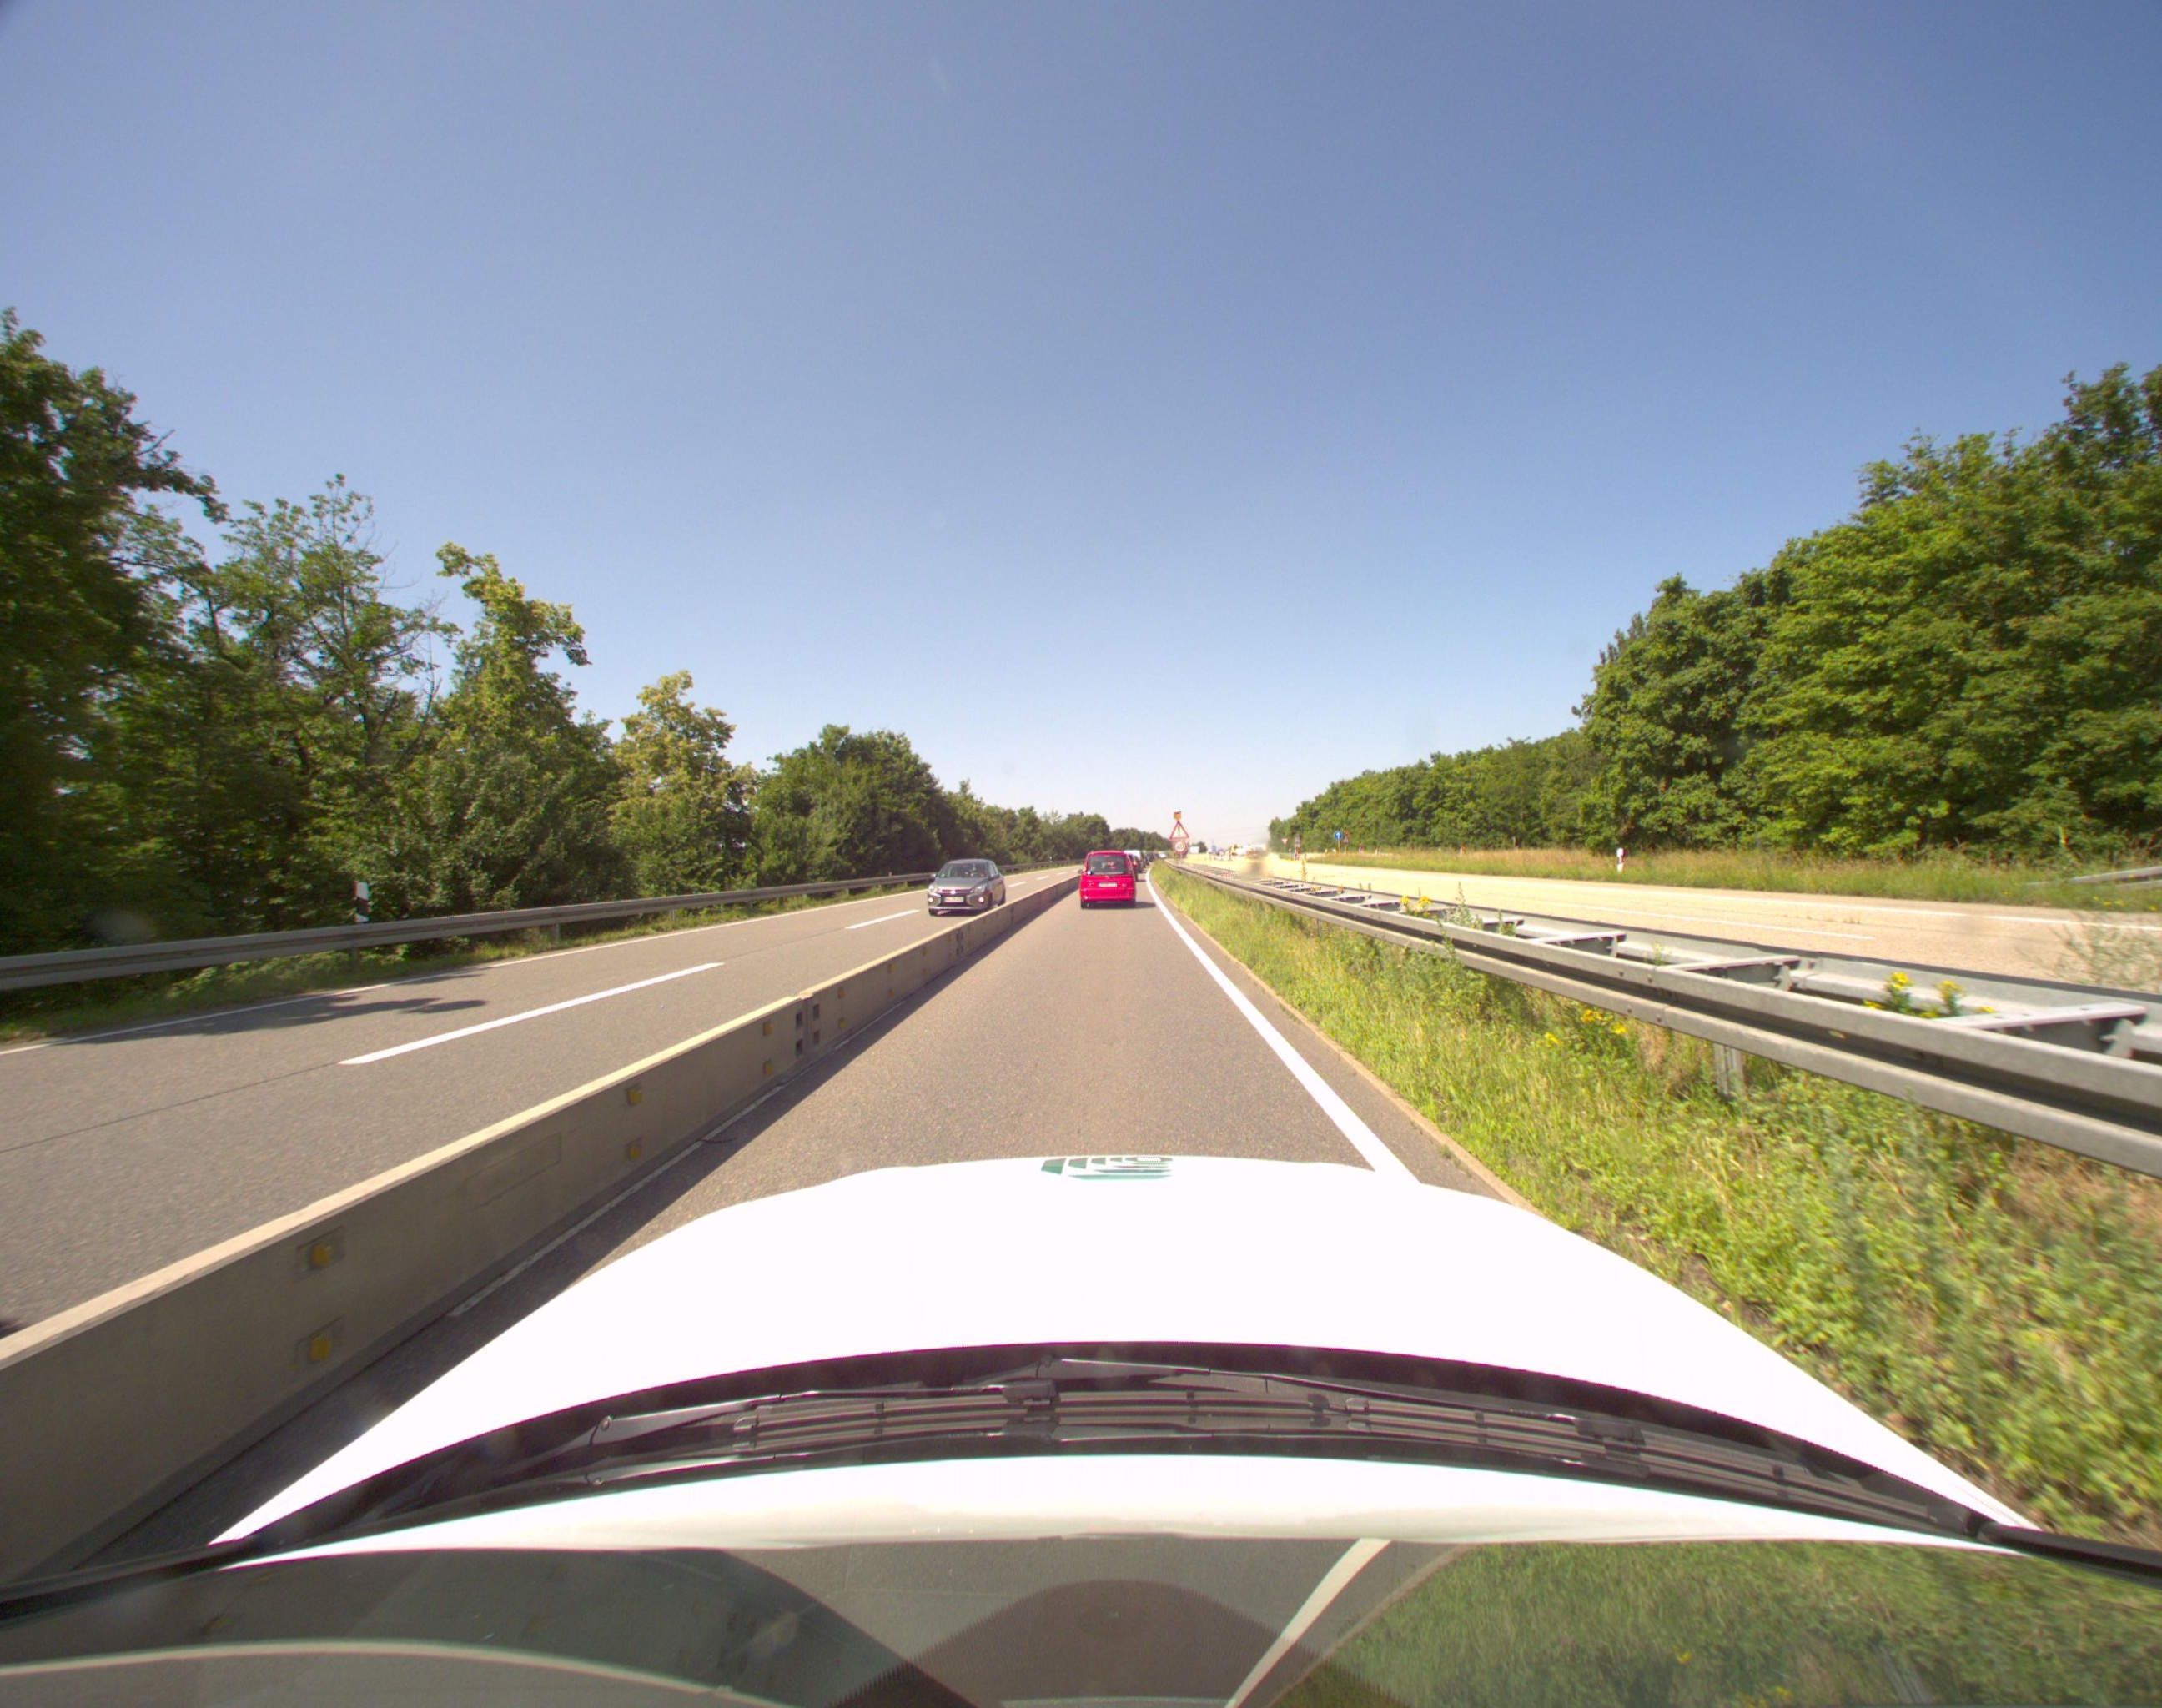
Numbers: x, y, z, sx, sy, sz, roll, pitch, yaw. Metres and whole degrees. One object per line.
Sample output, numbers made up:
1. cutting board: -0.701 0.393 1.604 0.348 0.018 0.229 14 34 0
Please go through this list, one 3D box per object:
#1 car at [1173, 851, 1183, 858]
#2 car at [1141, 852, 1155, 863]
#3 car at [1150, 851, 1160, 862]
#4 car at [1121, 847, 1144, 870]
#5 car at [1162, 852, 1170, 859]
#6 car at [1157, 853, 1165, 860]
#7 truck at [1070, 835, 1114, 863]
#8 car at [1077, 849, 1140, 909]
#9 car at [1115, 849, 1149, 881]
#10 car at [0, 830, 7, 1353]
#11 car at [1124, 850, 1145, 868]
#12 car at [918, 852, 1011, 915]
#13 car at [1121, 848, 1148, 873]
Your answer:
1. car: 22.736 0.023 190.965 1.984 1.552 4.006 -3 0 5
2. car: 9.901 0.466 120.797 1.984 1.585 4.006 -1 0 5
3. car: 12.331 0.392 135.922 1.494 1.736 3.175 -1 0 6
4. car: 4.658 0.398 74.584 1.985 2.003 4.003 -1 0 3
5. car: 17.483 0.306 167.155 1.493 1.450 3.177 -3 0 8
6. car: 14.927 0.473 151.651 1.413 1.298 2.885 -3 0 8
7. truck: 2.323 -0.990 171.372 8.575 5.375 3.395 -3 0 6
8. car: 0.806 0.712 25.118 1.746 1.673 4.000 -1 0 1
9. car: 2.941 0.605 47.217 1.822 1.722 4.004 -2 0 3
10. car: -4.373 0.749 0.694 1.822 1.630 3.786 -2 -1 2
11. car: 5.620 0.527 85.987 1.986 1.750 4.002 -2 0 2
12. car: -3.194 0.773 23.193 1.942 1.579 4.435 -2 -1 0
13. car: 4.246 0.501 64.950 1.985 1.838 4.003 -2 -1 3
